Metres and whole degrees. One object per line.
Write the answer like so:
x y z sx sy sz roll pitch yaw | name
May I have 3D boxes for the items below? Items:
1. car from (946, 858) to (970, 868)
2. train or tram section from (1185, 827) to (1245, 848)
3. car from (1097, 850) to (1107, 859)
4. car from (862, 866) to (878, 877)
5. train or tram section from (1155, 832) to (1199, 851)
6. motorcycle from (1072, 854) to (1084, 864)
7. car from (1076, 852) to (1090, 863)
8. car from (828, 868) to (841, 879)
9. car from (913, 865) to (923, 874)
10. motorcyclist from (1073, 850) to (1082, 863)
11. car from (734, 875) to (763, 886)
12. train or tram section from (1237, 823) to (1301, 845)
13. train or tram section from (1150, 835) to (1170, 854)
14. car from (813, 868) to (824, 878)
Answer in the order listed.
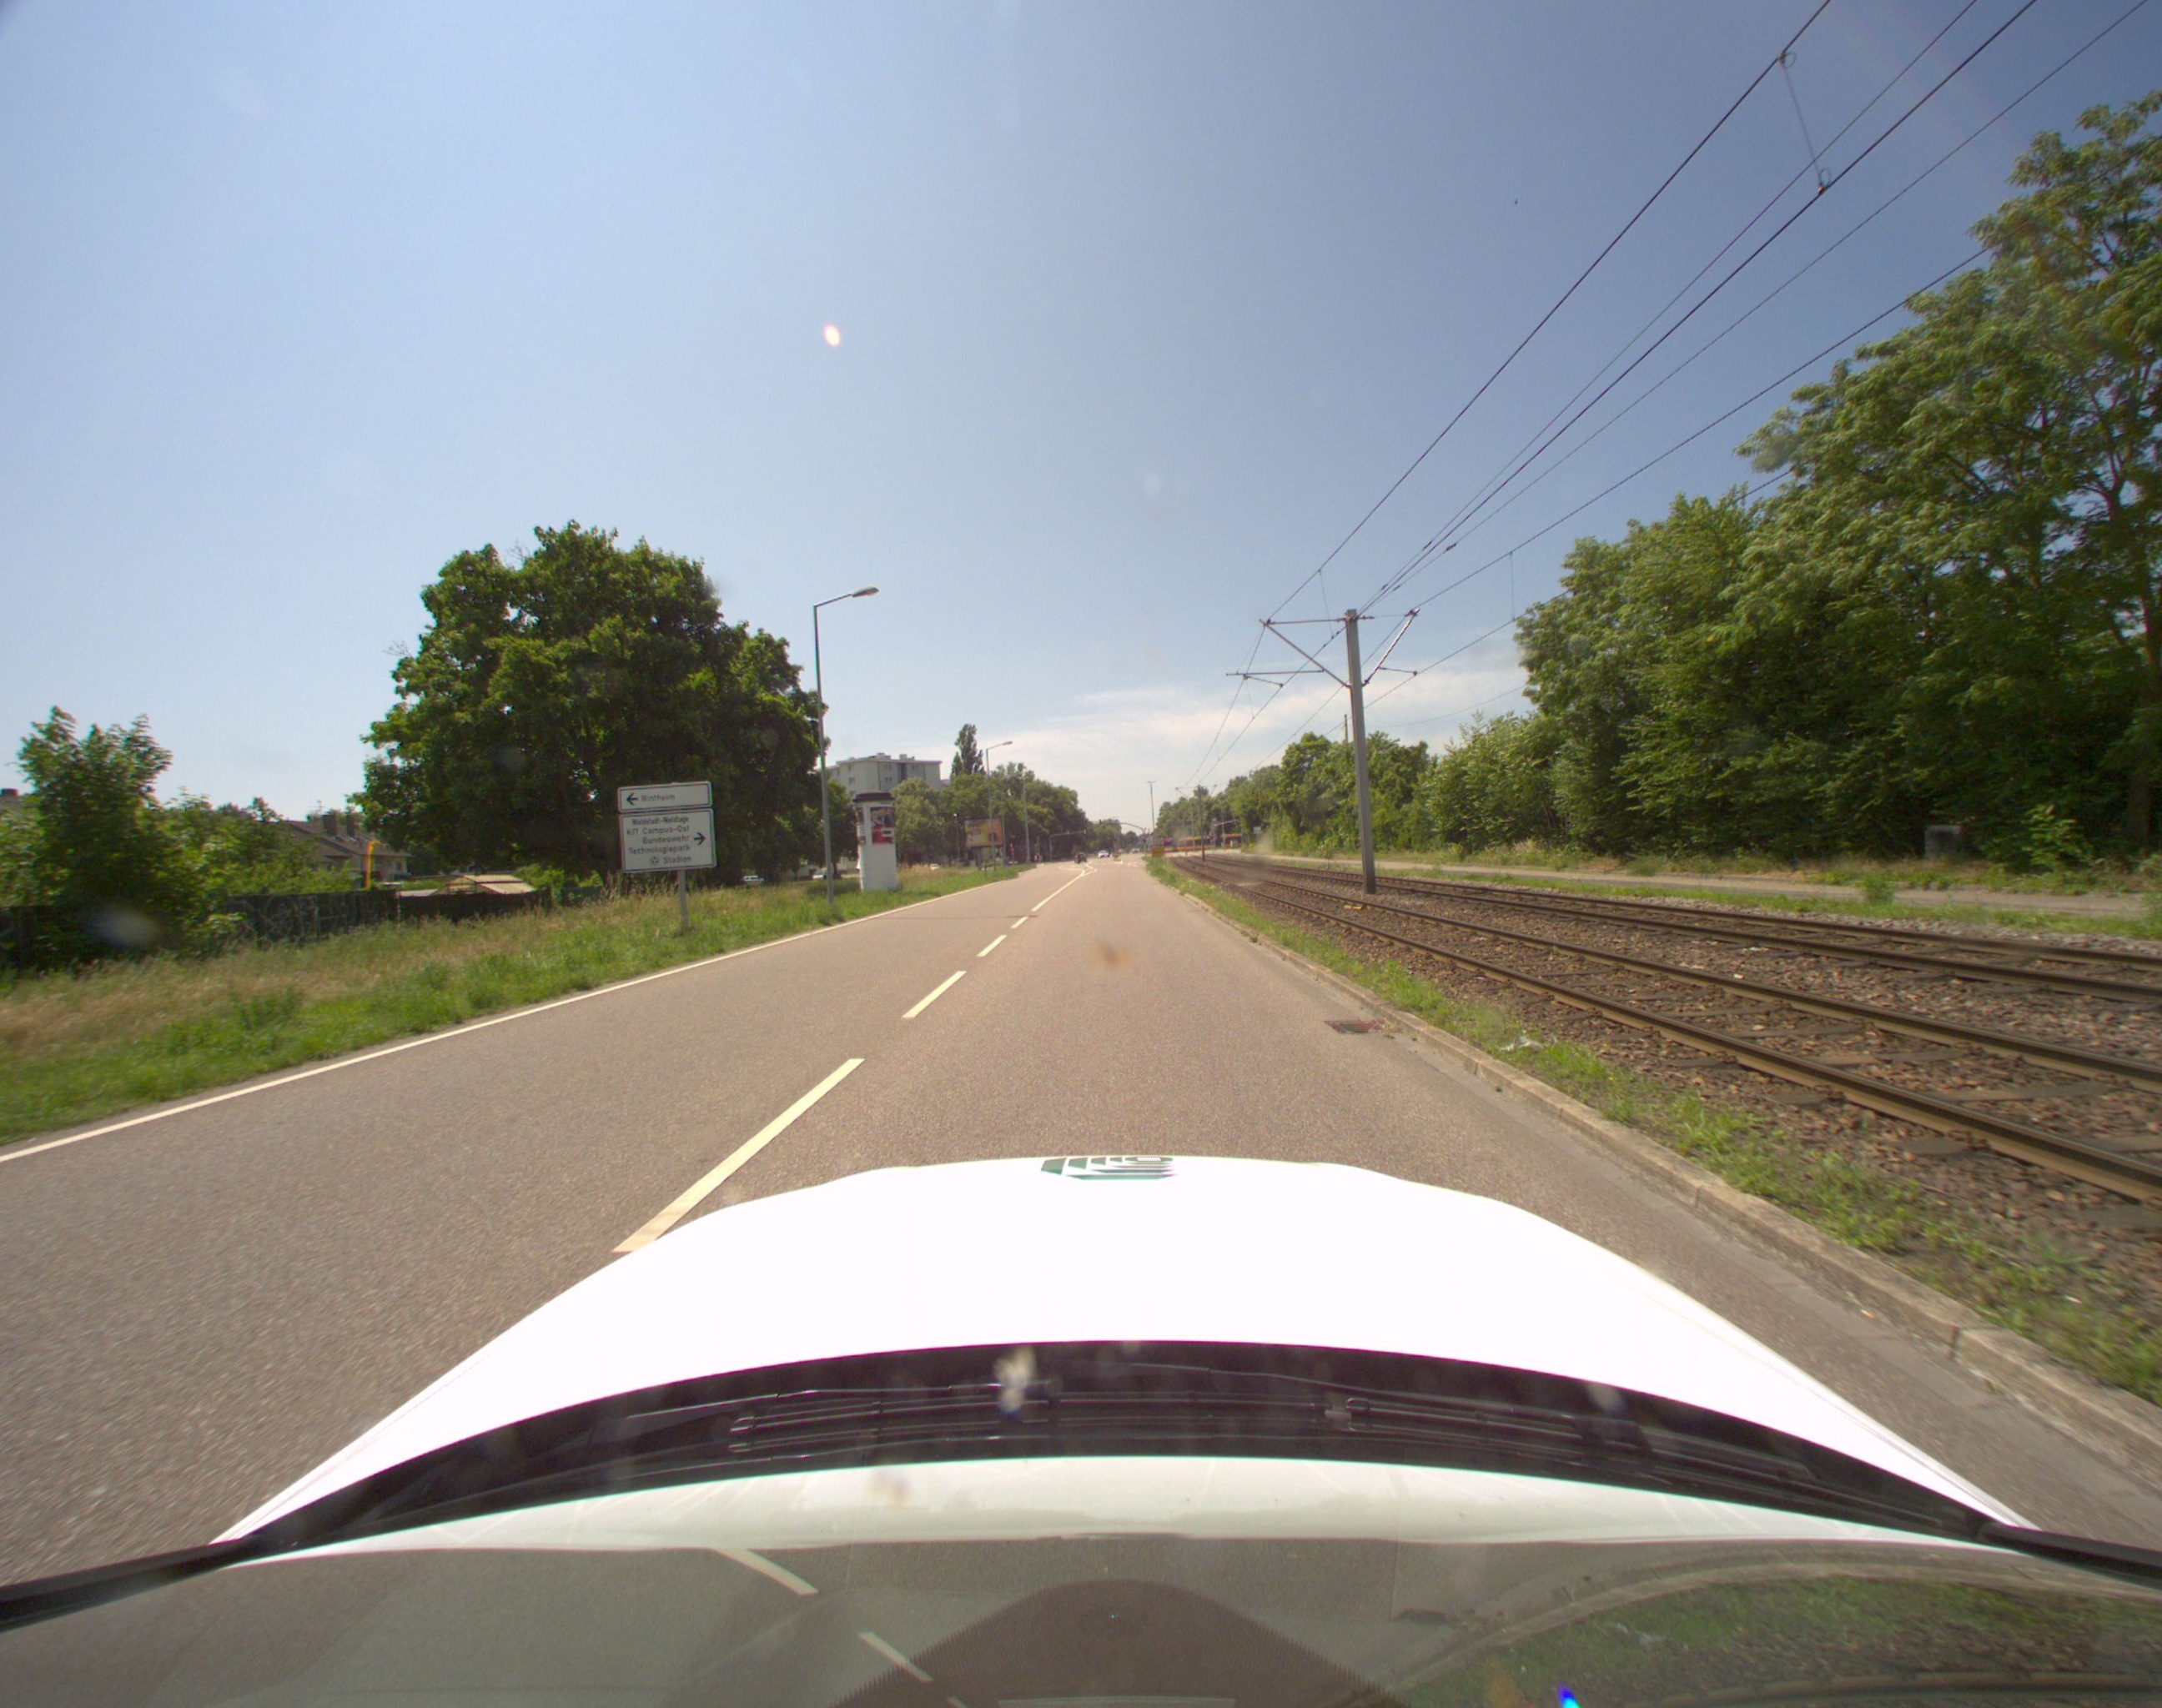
-25.373 1.848 167.989 1.769 1.768 4.577 -4 0 43 | car
31.172 -3.761 190.356 13.859 3.919 2.942 -4 -3 34 | train or tram section
4.539 0.074 174.514 1.777 1.628 3.869 -4 0 4 | car
-36.147 2.948 139.432 1.857 1.668 3.964 -4 0 -27 | car
23.151 -2.984 198.323 2.933 3.812 13.319 -1 -3 -31 | train or tram section
-0.424 0.613 108.054 0.840 1.255 2.460 -3 0 18 | motorcycle
0.287 0.549 123.877 1.899 1.499 4.631 -2 0 1 | car
-41.754 3.271 137.722 1.852 1.711 3.974 -3 0 -19 | car
-28.381 2.643 141.606 1.619 1.464 3.982 -3 0 -13 | car
-0.500 0.330 107.989 0.784 1.643 1.216 -3 0 17 | motorcyclist
-50.339 4.034 123.444 3.900 1.468 1.762 -4 0 -22 | car
42.745 -4.513 185.613 13.831 3.919 2.932 -3 -3 10 | train or tram section
20.160 -2.375 208.721 2.908 3.812 13.053 -2 -3 -4 | train or tram section
-44.058 3.181 136.595 1.693 1.562 3.813 -4 0 -19 | car
